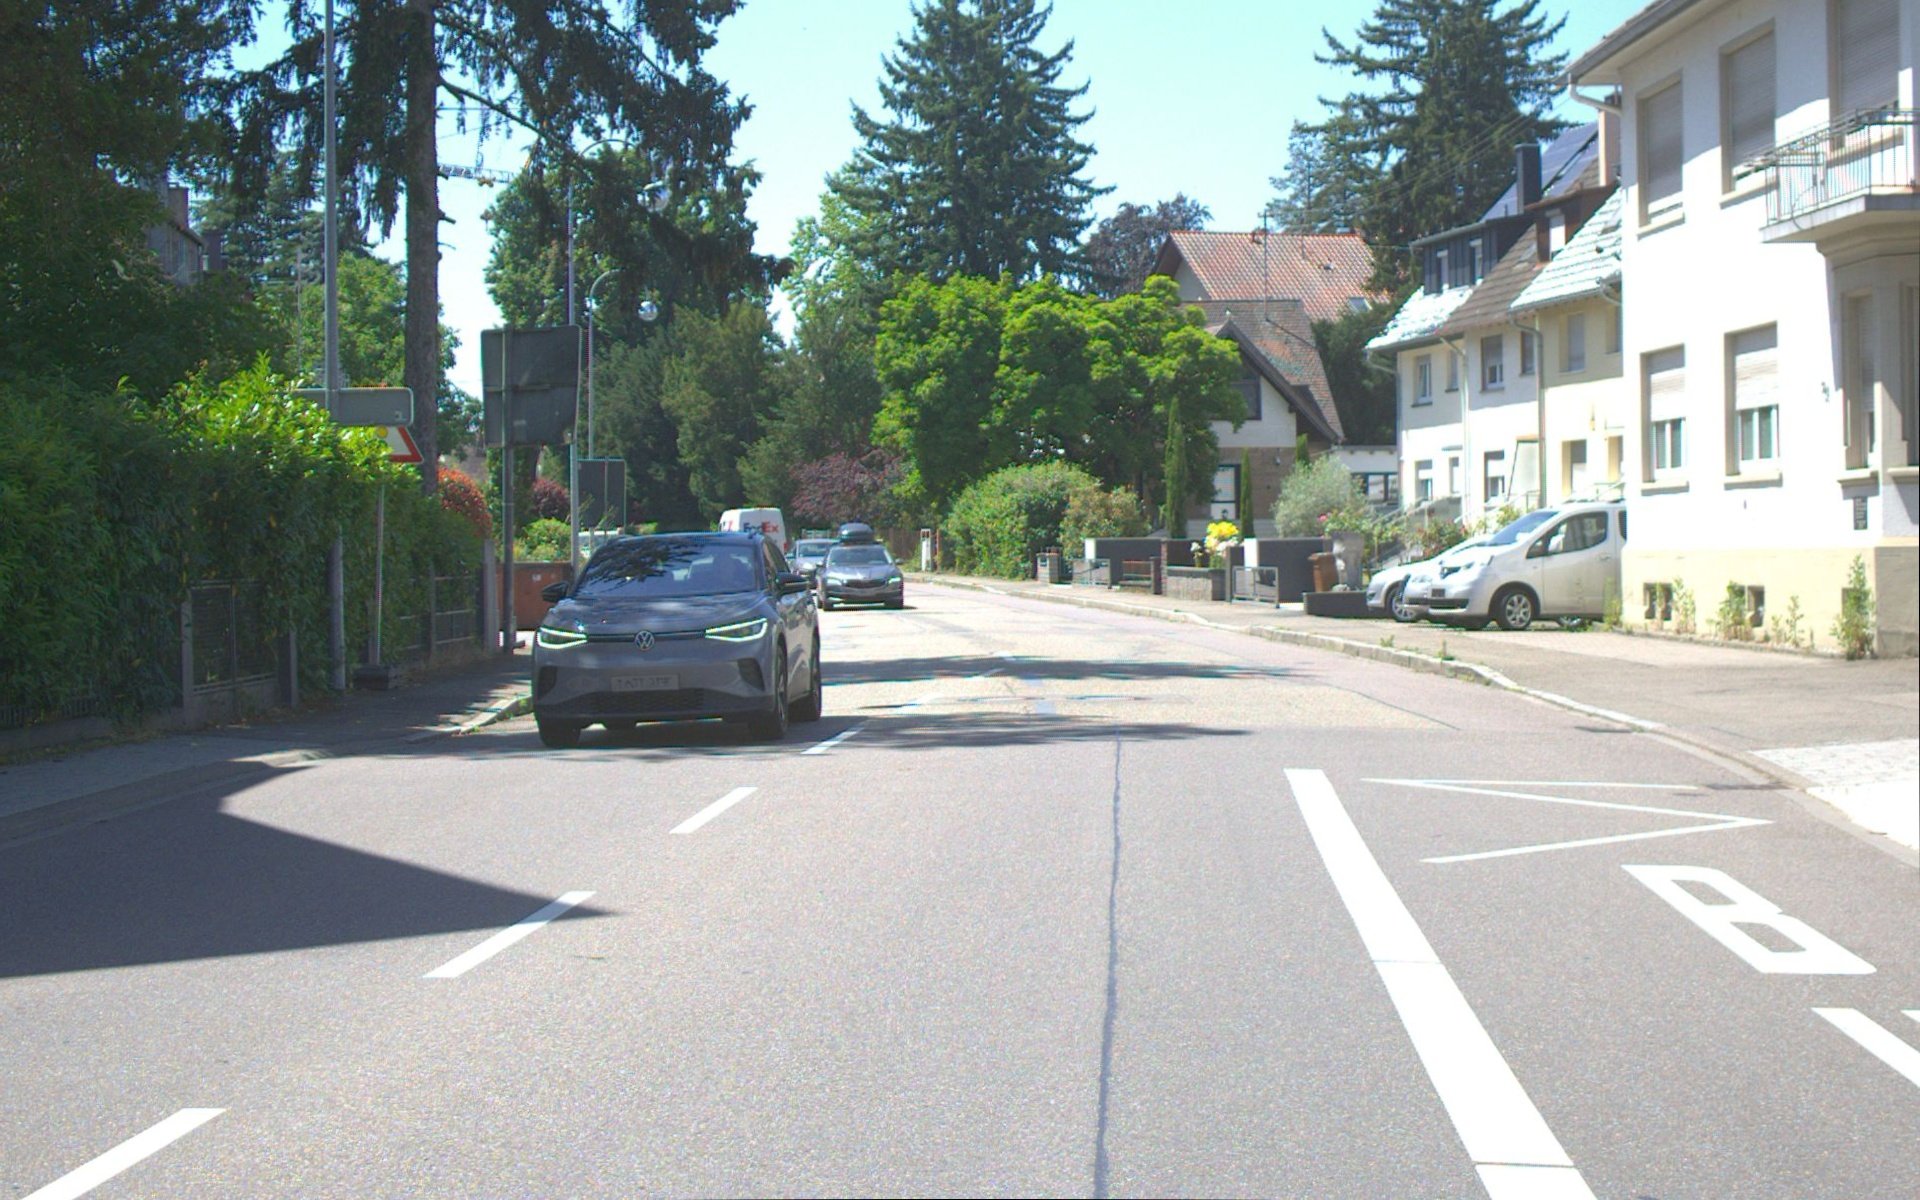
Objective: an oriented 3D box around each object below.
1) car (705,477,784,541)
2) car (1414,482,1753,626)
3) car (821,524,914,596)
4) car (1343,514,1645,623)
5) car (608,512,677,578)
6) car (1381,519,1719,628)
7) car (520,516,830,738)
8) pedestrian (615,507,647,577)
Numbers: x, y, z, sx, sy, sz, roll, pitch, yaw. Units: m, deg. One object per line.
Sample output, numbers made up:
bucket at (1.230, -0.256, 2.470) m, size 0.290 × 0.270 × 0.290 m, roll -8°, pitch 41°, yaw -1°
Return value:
car at (-8.165, -3.452, 129.966) m, size 2.143 × 2.307 × 4.854 m, roll -2°, pitch 2°, yaw -13°
car at (8.769, -0.656, 48.457) m, size 4.289 × 1.824 × 1.740 m, roll 2°, pitch 1°, yaw -11°
car at (-2.103, -0.923, 77.016) m, size 1.806 × 1.483 × 4.388 m, roll -2°, pitch 2°, yaw -4°
car at (8.373, -0.503, 53.975) m, size 4.297 × 1.542 × 1.753 m, roll 2°, pitch 0°, yaw 29°
car at (-8.949, -1.554, 96.796) m, size 1.722 × 1.730 × 3.888 m, roll -3°, pitch 2°, yaw -7°
car at (8.742, -0.409, 51.208) m, size 4.639 × 1.404 × 1.769 m, roll 2°, pitch 1°, yaw -2°
car at (-2.170, 0.154, 27.290) m, size 1.853 × 1.611 × 4.296 m, roll 0°, pitch 1°, yaw 3°
pedestrian at (-9.104, -1.598, 95.195) m, size 0.689 × 1.883 × 1.019 m, roll 4°, pitch 0°, yaw -2°
